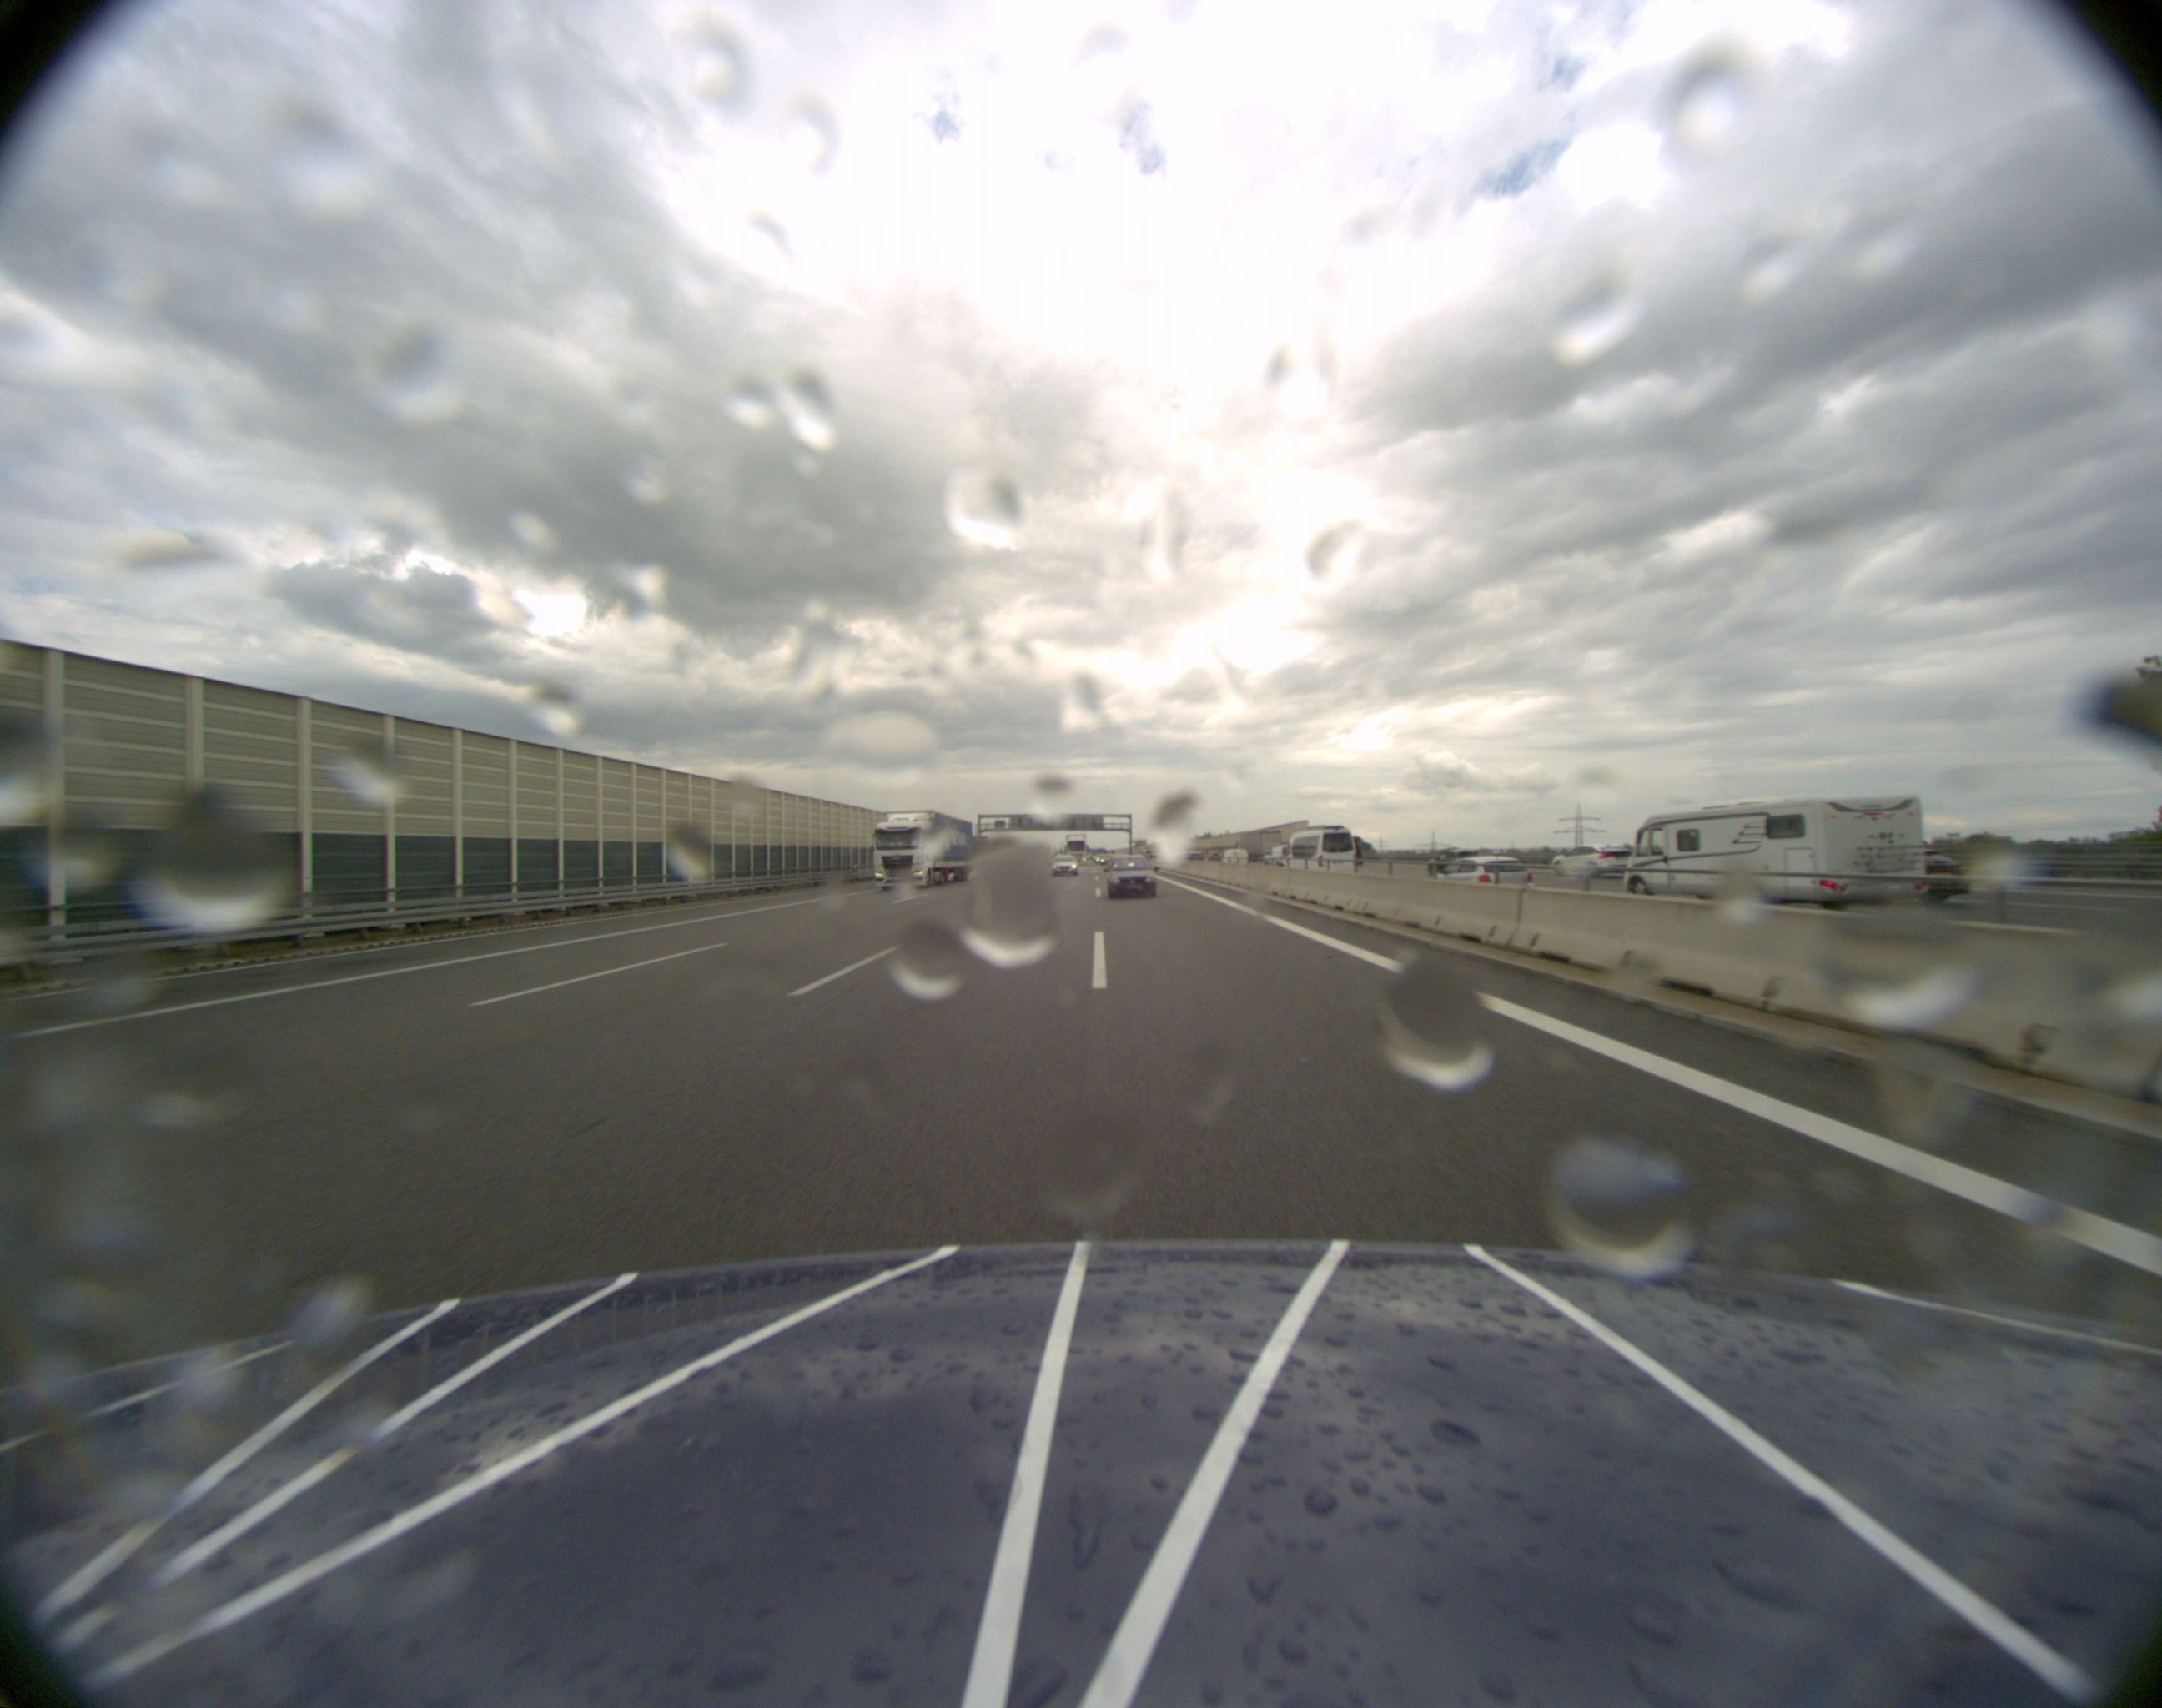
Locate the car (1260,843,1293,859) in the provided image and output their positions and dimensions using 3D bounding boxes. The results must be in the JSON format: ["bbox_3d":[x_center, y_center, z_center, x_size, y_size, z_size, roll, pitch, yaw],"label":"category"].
[{"bbox_3d":[21.344,-0.337,83.053,2.065,1.636,6.120,-1,1,1],"label":"car"}]

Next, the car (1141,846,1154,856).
[{"bbox_3d":[13.456,-0.613,154.078,2.065,1.869,4.997,-1,1,1],"label":"car"}]

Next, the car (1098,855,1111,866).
[{"bbox_3d":[2.958,0.798,97.198,1.498,1.395,4.000,-2,0,1],"label":"car"}]

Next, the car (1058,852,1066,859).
[{"bbox_3d":[-3.809,0.219,154.300,1.498,1.395,3.999,-2,0,-1],"label":"car"}]

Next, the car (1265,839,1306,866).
[{"bbox_3d":[17.754,-0.174,66.361,2.065,2.223,5.894,-1,1,1],"label":"car"}]

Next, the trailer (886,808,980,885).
[{"bbox_3d":[-8.849,-0.412,47.601,2.768,4.008,14.452,-2,0,1],"label":"trailer"}]

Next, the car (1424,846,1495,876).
[{"bbox_3d":[20.573,0.353,41.497,1.727,1.456,4.519,-3,1,3],"label":"car"}]

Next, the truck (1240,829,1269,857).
[{"bbox_3d":[25.551,-1.555,111.911,2.979,4.011,5.726,-1,0,1],"label":"truck"}]

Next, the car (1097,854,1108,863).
[{"bbox_3d":[3.345,0.708,116.888,1.498,1.395,3.999,-2,0,-1],"label":"car"}]

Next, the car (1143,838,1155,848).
[{"bbox_3d":[17.440,-2.763,195.044,2.389,2.535,7.086,-2,0,1],"label":"car"}]

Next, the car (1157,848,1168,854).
[{"bbox_3d":[18.854,-0.680,175.768,2.065,1.482,4.997,-1,1,1],"label":"car"}]

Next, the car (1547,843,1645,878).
[{"bbox_3d":[24.272,0.250,36.004,1.727,1.456,4.519,-3,1,3],"label":"car"}]

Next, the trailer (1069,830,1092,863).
[{"bbox_3d":[0.017,-1.037,106.622,2.925,4.188,13.196,-3,0,1],"label":"trailer"}]

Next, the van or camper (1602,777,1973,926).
[{"bbox_3d":[16.990,-0.101,19.243,2.631,2.934,7.358,-3,1,1],"label":"van or camper"}]

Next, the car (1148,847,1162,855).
[{"bbox_3d":[13.768,-0.539,141.230,2.065,1.525,4.997,-1,1,1],"label":"car"}]

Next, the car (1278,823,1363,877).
[{"bbox_3d":[13.564,-0.131,43.891,2.236,2.733,9.166,-1,-1,2],"label":"car"}]

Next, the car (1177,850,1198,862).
[{"bbox_3d":[14.619,0.206,104.557,2.065,1.526,5.469,-1,1,1],"label":"car"}]

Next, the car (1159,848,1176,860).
[{"bbox_3d":[14.139,-0.074,124.259,2.065,1.869,6.327,-1,1,1],"label":"car"}]

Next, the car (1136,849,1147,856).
[{"bbox_3d":[13.815,-0.319,174.044,2.065,1.482,4.997,-1,1,1],"label":"car"}]

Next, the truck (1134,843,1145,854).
[{"bbox_3d":[20.088,-1.842,262.051,2.703,3.506,9.995,-3,0,0],"label":"truck"}]

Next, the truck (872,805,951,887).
[{"bbox_3d":[-8.915,-0.410,40.533,2.751,4.011,5.726,-2,0,1],"label":"truck"}]

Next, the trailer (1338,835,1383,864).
[{"bbox_3d":[25.135,-0.404,68.573,2.206,2.469,5.228,-1,0,1],"label":"trailer"}]

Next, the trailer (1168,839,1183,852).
[{"bbox_3d":[31.621,-2.725,255.058,2.943,4.008,13.858,-2,0,-1],"label":"trailer"}]

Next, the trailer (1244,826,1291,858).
[{"bbox_3d":[25.422,-1.542,104.491,2.939,4.008,14.452,-2,0,1],"label":"trailer"}]

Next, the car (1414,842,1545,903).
[{"bbox_3d":[12.102,0.488,23.439,1.727,1.636,4.519,-3,1,2],"label":"car"}]

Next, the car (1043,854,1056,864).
[{"bbox_3d":[-4.672,0.669,112.038,1.698,1.395,4.000,-2,0,1],"label":"car"}]

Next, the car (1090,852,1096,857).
[{"bbox_3d":[3.200,0.046,206.440,1.698,1.395,4.000,-2,0,1],"label":"car"}]

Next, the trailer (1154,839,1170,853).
[{"bbox_3d":[24.175,-2.216,228.117,2.768,4.008,14.450,-2,0,-1],"label":"trailer"}]

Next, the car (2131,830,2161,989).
[{"bbox_3d":[11.915,0.583,5.519,1.727,1.636,5.062,-3,1,3],"label":"car"}]

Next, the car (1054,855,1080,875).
[{"bbox_3d":[-0.983,0.770,55.041,1.732,1.395,4.000,-2,0,1],"label":"car"}]

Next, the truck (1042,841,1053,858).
[{"bbox_3d":[-8.698,-1.114,195.909,2.600,4.088,11.368,-2,0,-3],"label":"truck"}]

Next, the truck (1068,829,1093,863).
[{"bbox_3d":[-0.070,-1.020,99.290,2.913,4.146,5.193,-3,0,1],"label":"truck"}]

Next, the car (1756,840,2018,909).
[{"bbox_3d":[21.199,0.437,20.399,1.852,1.538,5.019,-3,1,3],"label":"car"}]

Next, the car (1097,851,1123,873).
[{"bbox_3d":[2.074,0.539,54.206,1.776,1.451,4.481,-2,0,3],"label":"car"}]

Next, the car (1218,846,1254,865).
[{"bbox_3d":[13.534,0.108,66.522,2.065,1.526,5.469,-1,1,1],"label":"car"}]

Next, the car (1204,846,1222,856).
[{"bbox_3d":[21.386,-0.432,123.183,2.065,1.526,5.469,-1,1,1],"label":"car"}]

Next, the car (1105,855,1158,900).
[{"bbox_3d":[1.688,0.757,26.496,1.578,1.395,4.000,-2,0,1],"label":"car"}]

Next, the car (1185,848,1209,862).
[{"bbox_3d":[13.804,0.080,90.839,2.065,1.636,5.379,-1,1,1],"label":"car"}]
